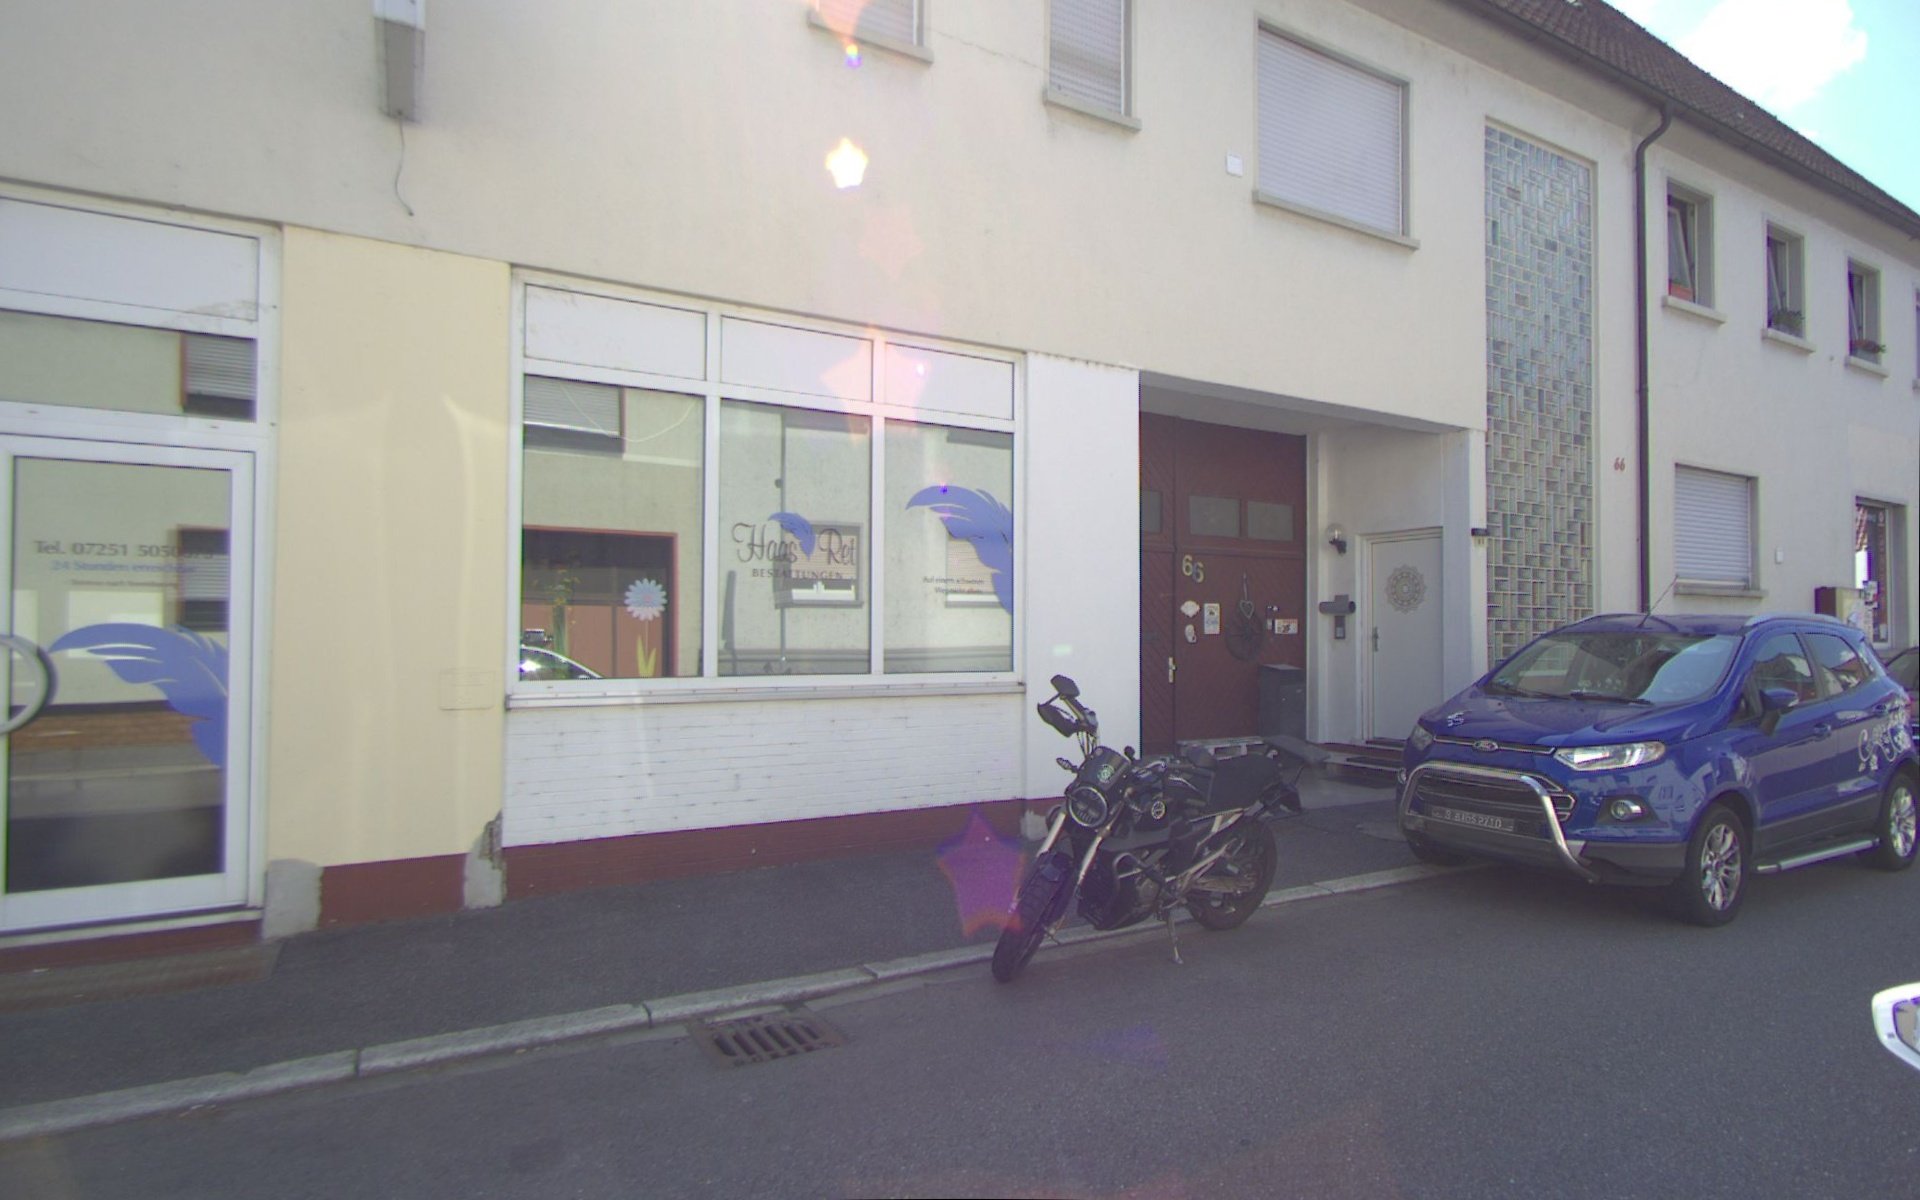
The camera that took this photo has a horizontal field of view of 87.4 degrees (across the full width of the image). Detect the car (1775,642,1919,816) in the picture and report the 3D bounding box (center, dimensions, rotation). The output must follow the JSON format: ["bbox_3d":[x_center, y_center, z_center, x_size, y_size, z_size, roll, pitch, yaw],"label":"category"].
[{"bbox_3d":[9.884,1.142,9.679,4.337,1.430,1.690,1,-2,-29],"label":"car"}]

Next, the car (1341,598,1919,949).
[{"bbox_3d":[4.584,0.905,6.584,4.101,1.661,1.709,1,-4,-31],"label":"car"}]

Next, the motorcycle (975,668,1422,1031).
[{"bbox_3d":[1.166,1.016,4.742,2.080,1.330,0.804,1,-1,-30],"label":"motorcycle"}]
